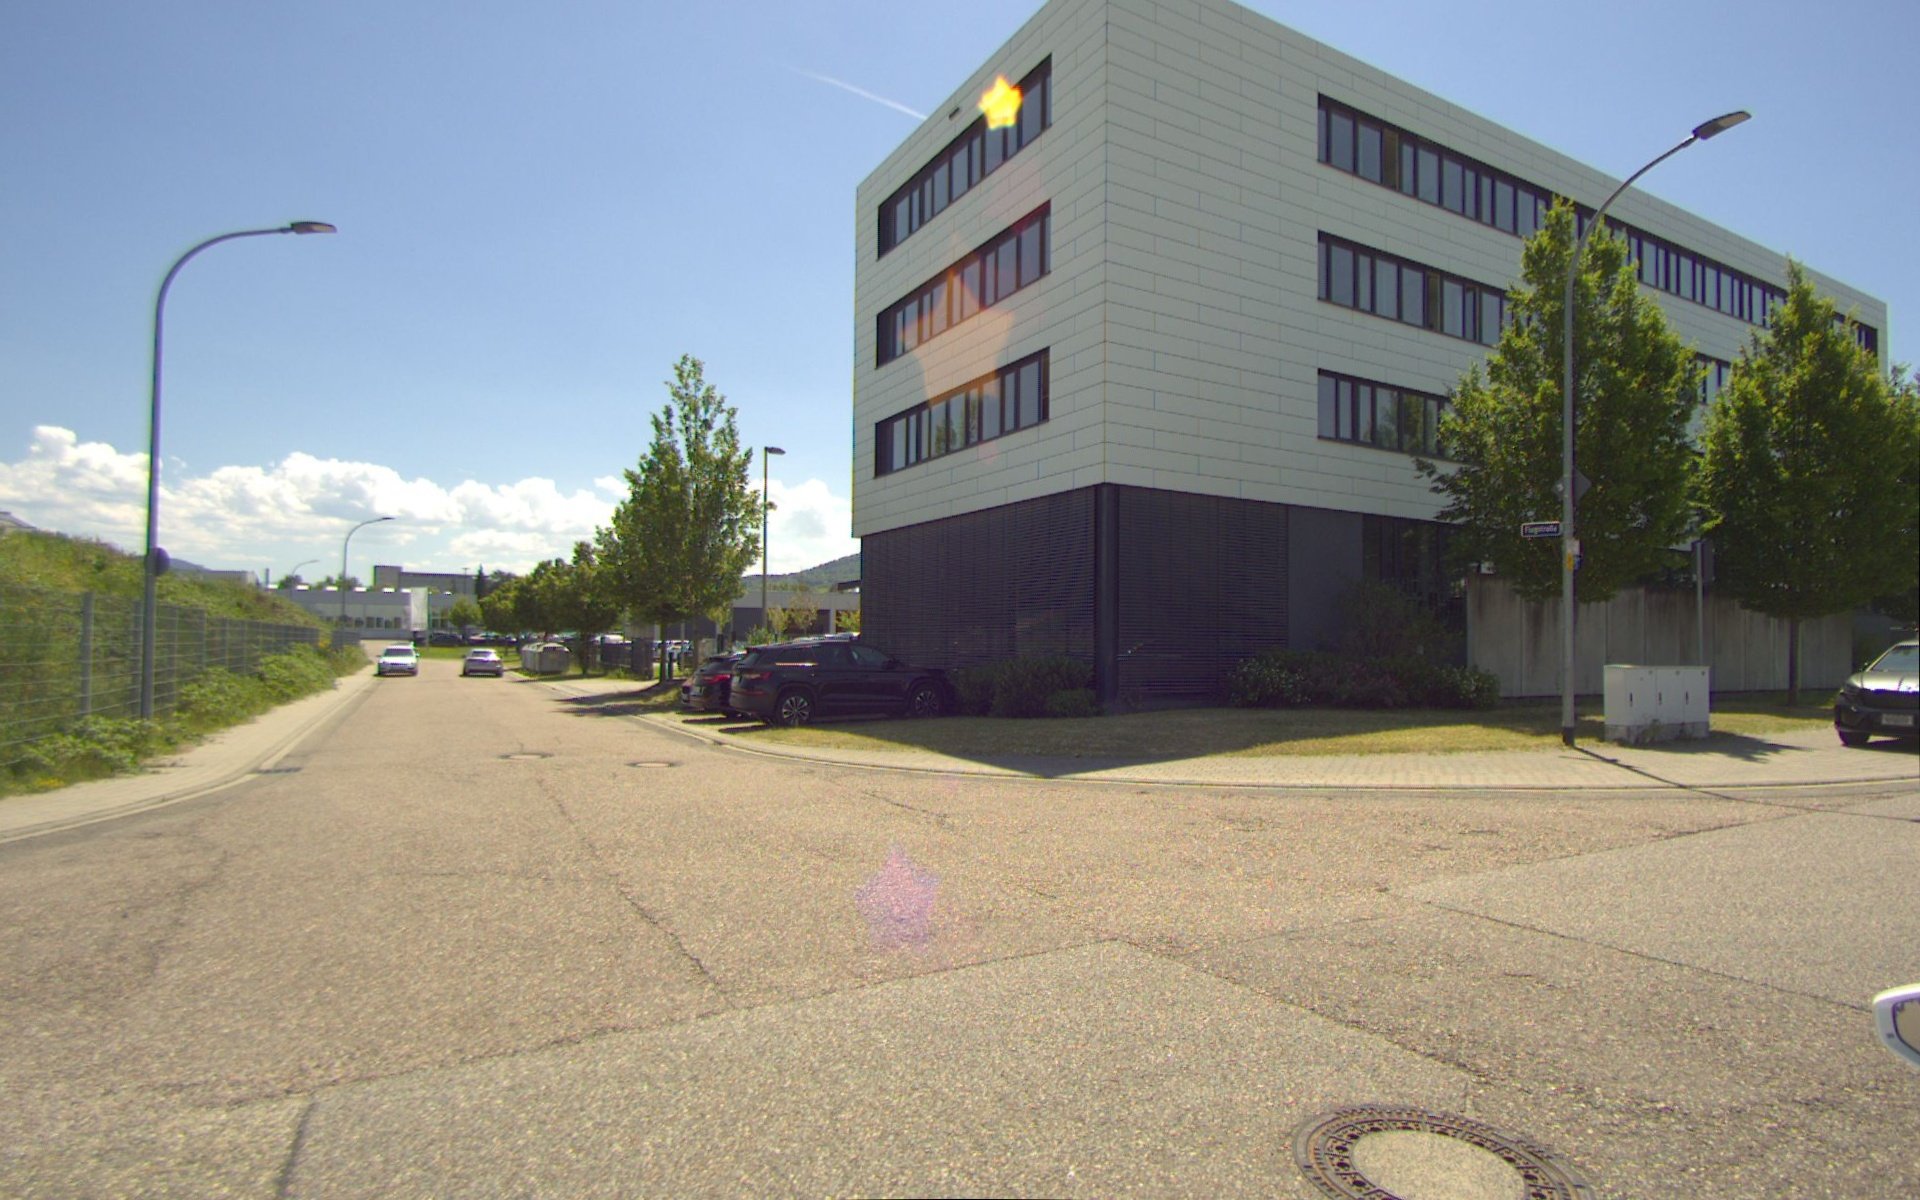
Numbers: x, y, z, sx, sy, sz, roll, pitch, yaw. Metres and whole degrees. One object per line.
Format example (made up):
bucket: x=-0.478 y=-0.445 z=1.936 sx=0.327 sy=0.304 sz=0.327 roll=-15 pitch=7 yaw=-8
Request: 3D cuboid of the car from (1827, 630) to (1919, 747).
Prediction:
car: x=15.050 y=1.323 z=15.086 sx=4.429 sy=1.608 sz=1.762 roll=3 pitch=-3 yaw=-31

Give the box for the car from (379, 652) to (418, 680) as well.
car: x=-28.995 y=3.366 z=51.814 sx=1.638 sy=1.318 sz=3.969 roll=3 pitch=-3 yaw=-30

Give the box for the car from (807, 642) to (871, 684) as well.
car: x=-6.337 y=3.258 z=52.406 sx=1.845 sy=1.885 sz=3.967 roll=3 pitch=-1 yaw=-30

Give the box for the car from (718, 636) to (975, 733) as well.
car: x=-2.251 y=1.626 z=20.359 sx=4.841 sy=1.614 sz=1.798 roll=-1 pitch=-1 yaw=-29

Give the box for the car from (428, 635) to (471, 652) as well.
car: x=-53.728 y=4.535 z=105.735 sx=3.955 sy=1.617 sz=1.788 roll=3 pitch=-1 yaw=-31

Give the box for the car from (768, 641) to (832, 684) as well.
car: x=-8.162 y=3.140 z=50.907 sx=1.845 sy=1.885 sz=3.967 roll=3 pitch=-1 yaw=-30

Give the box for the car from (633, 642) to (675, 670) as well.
car: x=-20.806 y=3.814 z=68.153 sx=1.845 sy=1.658 sz=3.805 roll=3 pitch=-1 yaw=-30

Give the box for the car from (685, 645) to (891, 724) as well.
car: x=-3.836 y=1.826 z=22.513 sx=4.201 sy=1.466 sz=1.798 roll=-1 pitch=-1 yaw=-28

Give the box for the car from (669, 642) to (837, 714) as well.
car: x=-5.266 y=1.929 z=25.610 sx=3.884 sy=1.543 sz=1.673 roll=-1 pitch=-1 yaw=-28

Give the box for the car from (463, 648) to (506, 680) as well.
car: x=-24.584 y=3.281 z=51.888 sx=1.678 sy=1.581 sz=3.807 roll=3 pitch=-3 yaw=-30

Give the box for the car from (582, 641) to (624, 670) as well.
car: x=-23.471 y=3.655 z=65.935 sx=1.845 sy=1.658 sz=3.805 roll=3 pitch=-1 yaw=-30

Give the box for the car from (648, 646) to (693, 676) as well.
car: x=-18.454 y=3.847 z=63.928 sx=1.845 sy=1.658 sz=3.805 roll=3 pitch=-1 yaw=-30
